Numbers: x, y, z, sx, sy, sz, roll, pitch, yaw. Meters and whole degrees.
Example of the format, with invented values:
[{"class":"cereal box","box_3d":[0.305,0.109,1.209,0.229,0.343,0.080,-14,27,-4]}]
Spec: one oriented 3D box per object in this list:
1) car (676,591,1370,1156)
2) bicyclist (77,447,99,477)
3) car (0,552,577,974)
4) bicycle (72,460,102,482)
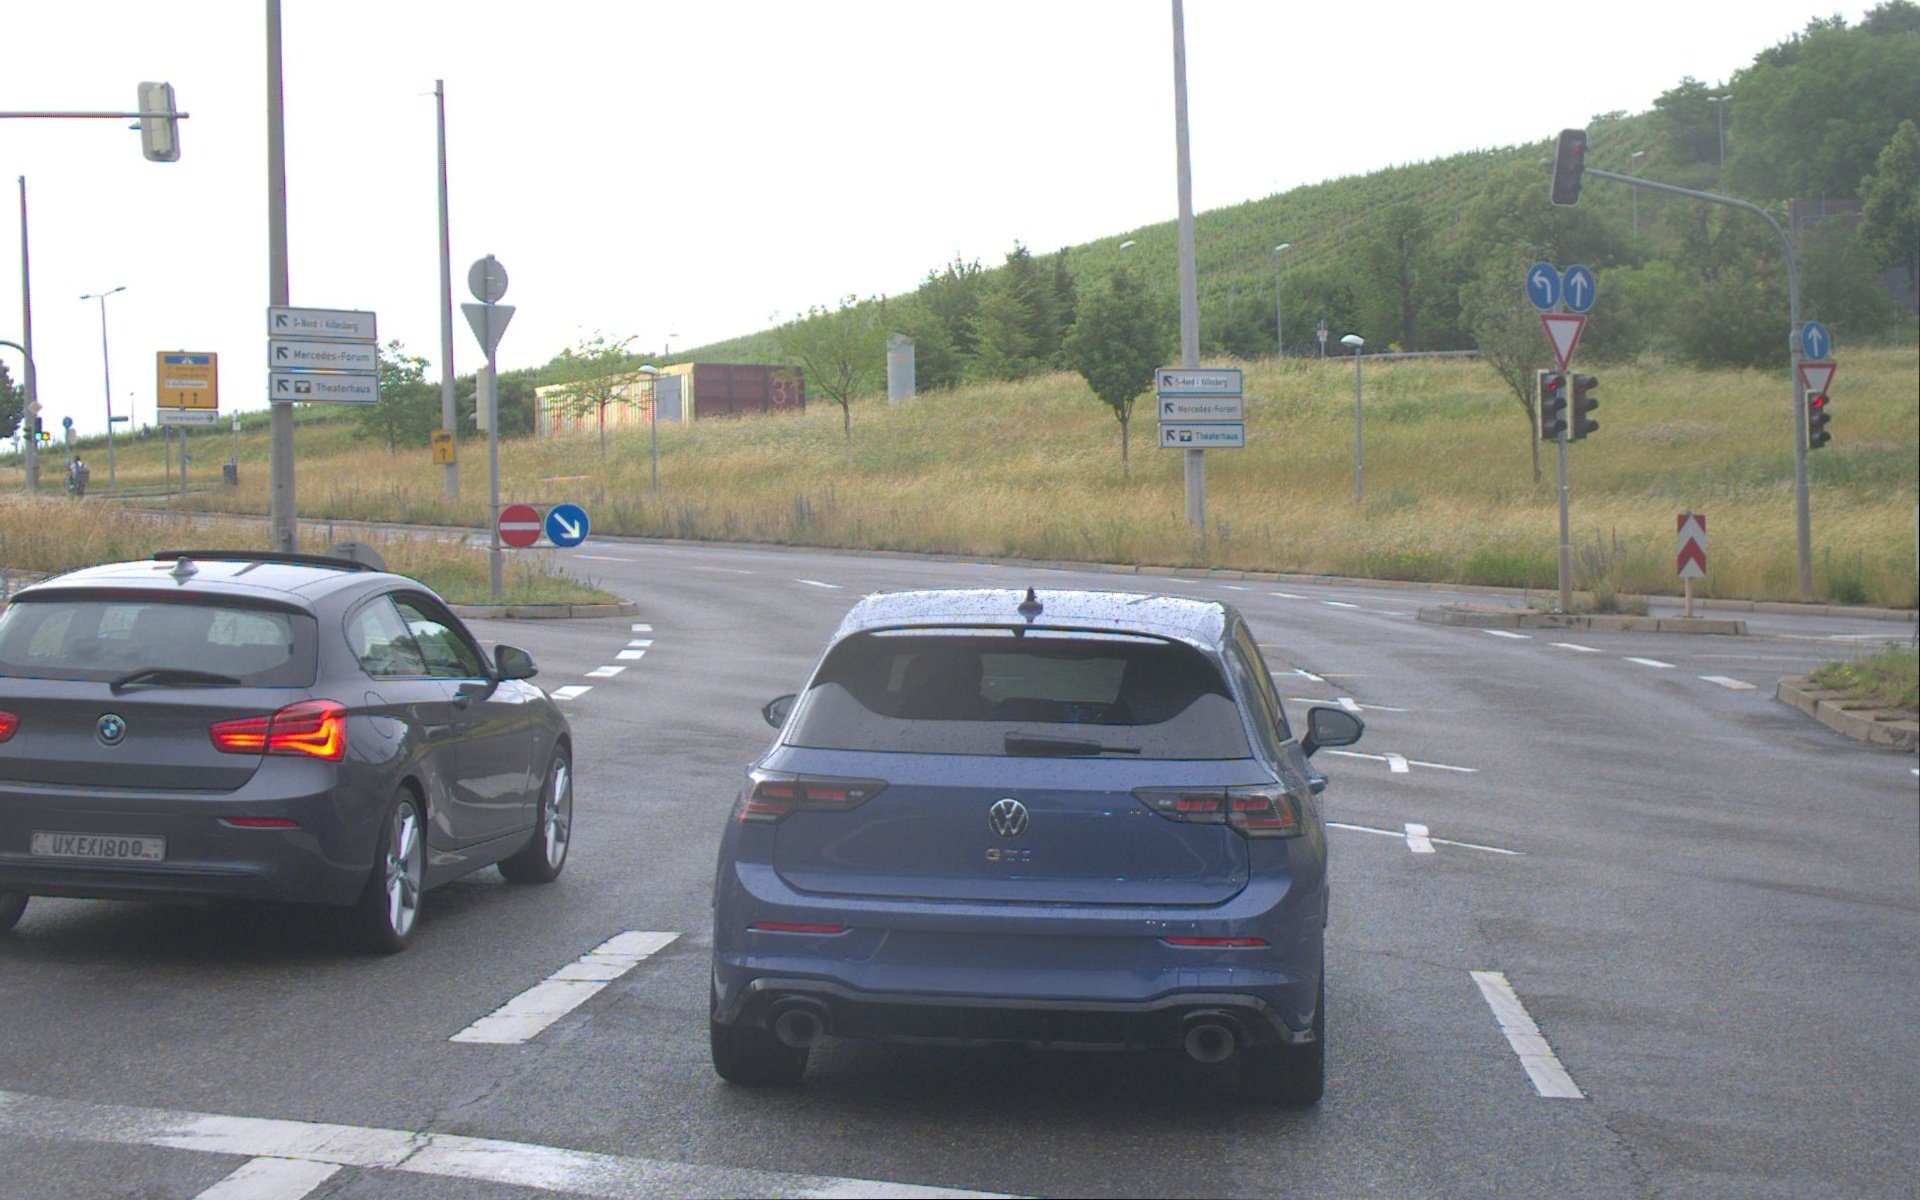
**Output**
[{"class":"car","box_3d":[0.296,0.710,10.950,1.825,1.455,3.808,0,0,4]},{"class":"bicyclist","box_3d":[-31.518,-4.980,124.252,0.523,1.043,0.580,3,0,-34]},{"class":"car","box_3d":[-2.785,0.537,13.955,1.703,1.455,4.114,0,1,4]},{"class":"bicycle","box_3d":[-31.569,-4.657,124.323,0.518,0.772,1.621,1,1,-34]}]
